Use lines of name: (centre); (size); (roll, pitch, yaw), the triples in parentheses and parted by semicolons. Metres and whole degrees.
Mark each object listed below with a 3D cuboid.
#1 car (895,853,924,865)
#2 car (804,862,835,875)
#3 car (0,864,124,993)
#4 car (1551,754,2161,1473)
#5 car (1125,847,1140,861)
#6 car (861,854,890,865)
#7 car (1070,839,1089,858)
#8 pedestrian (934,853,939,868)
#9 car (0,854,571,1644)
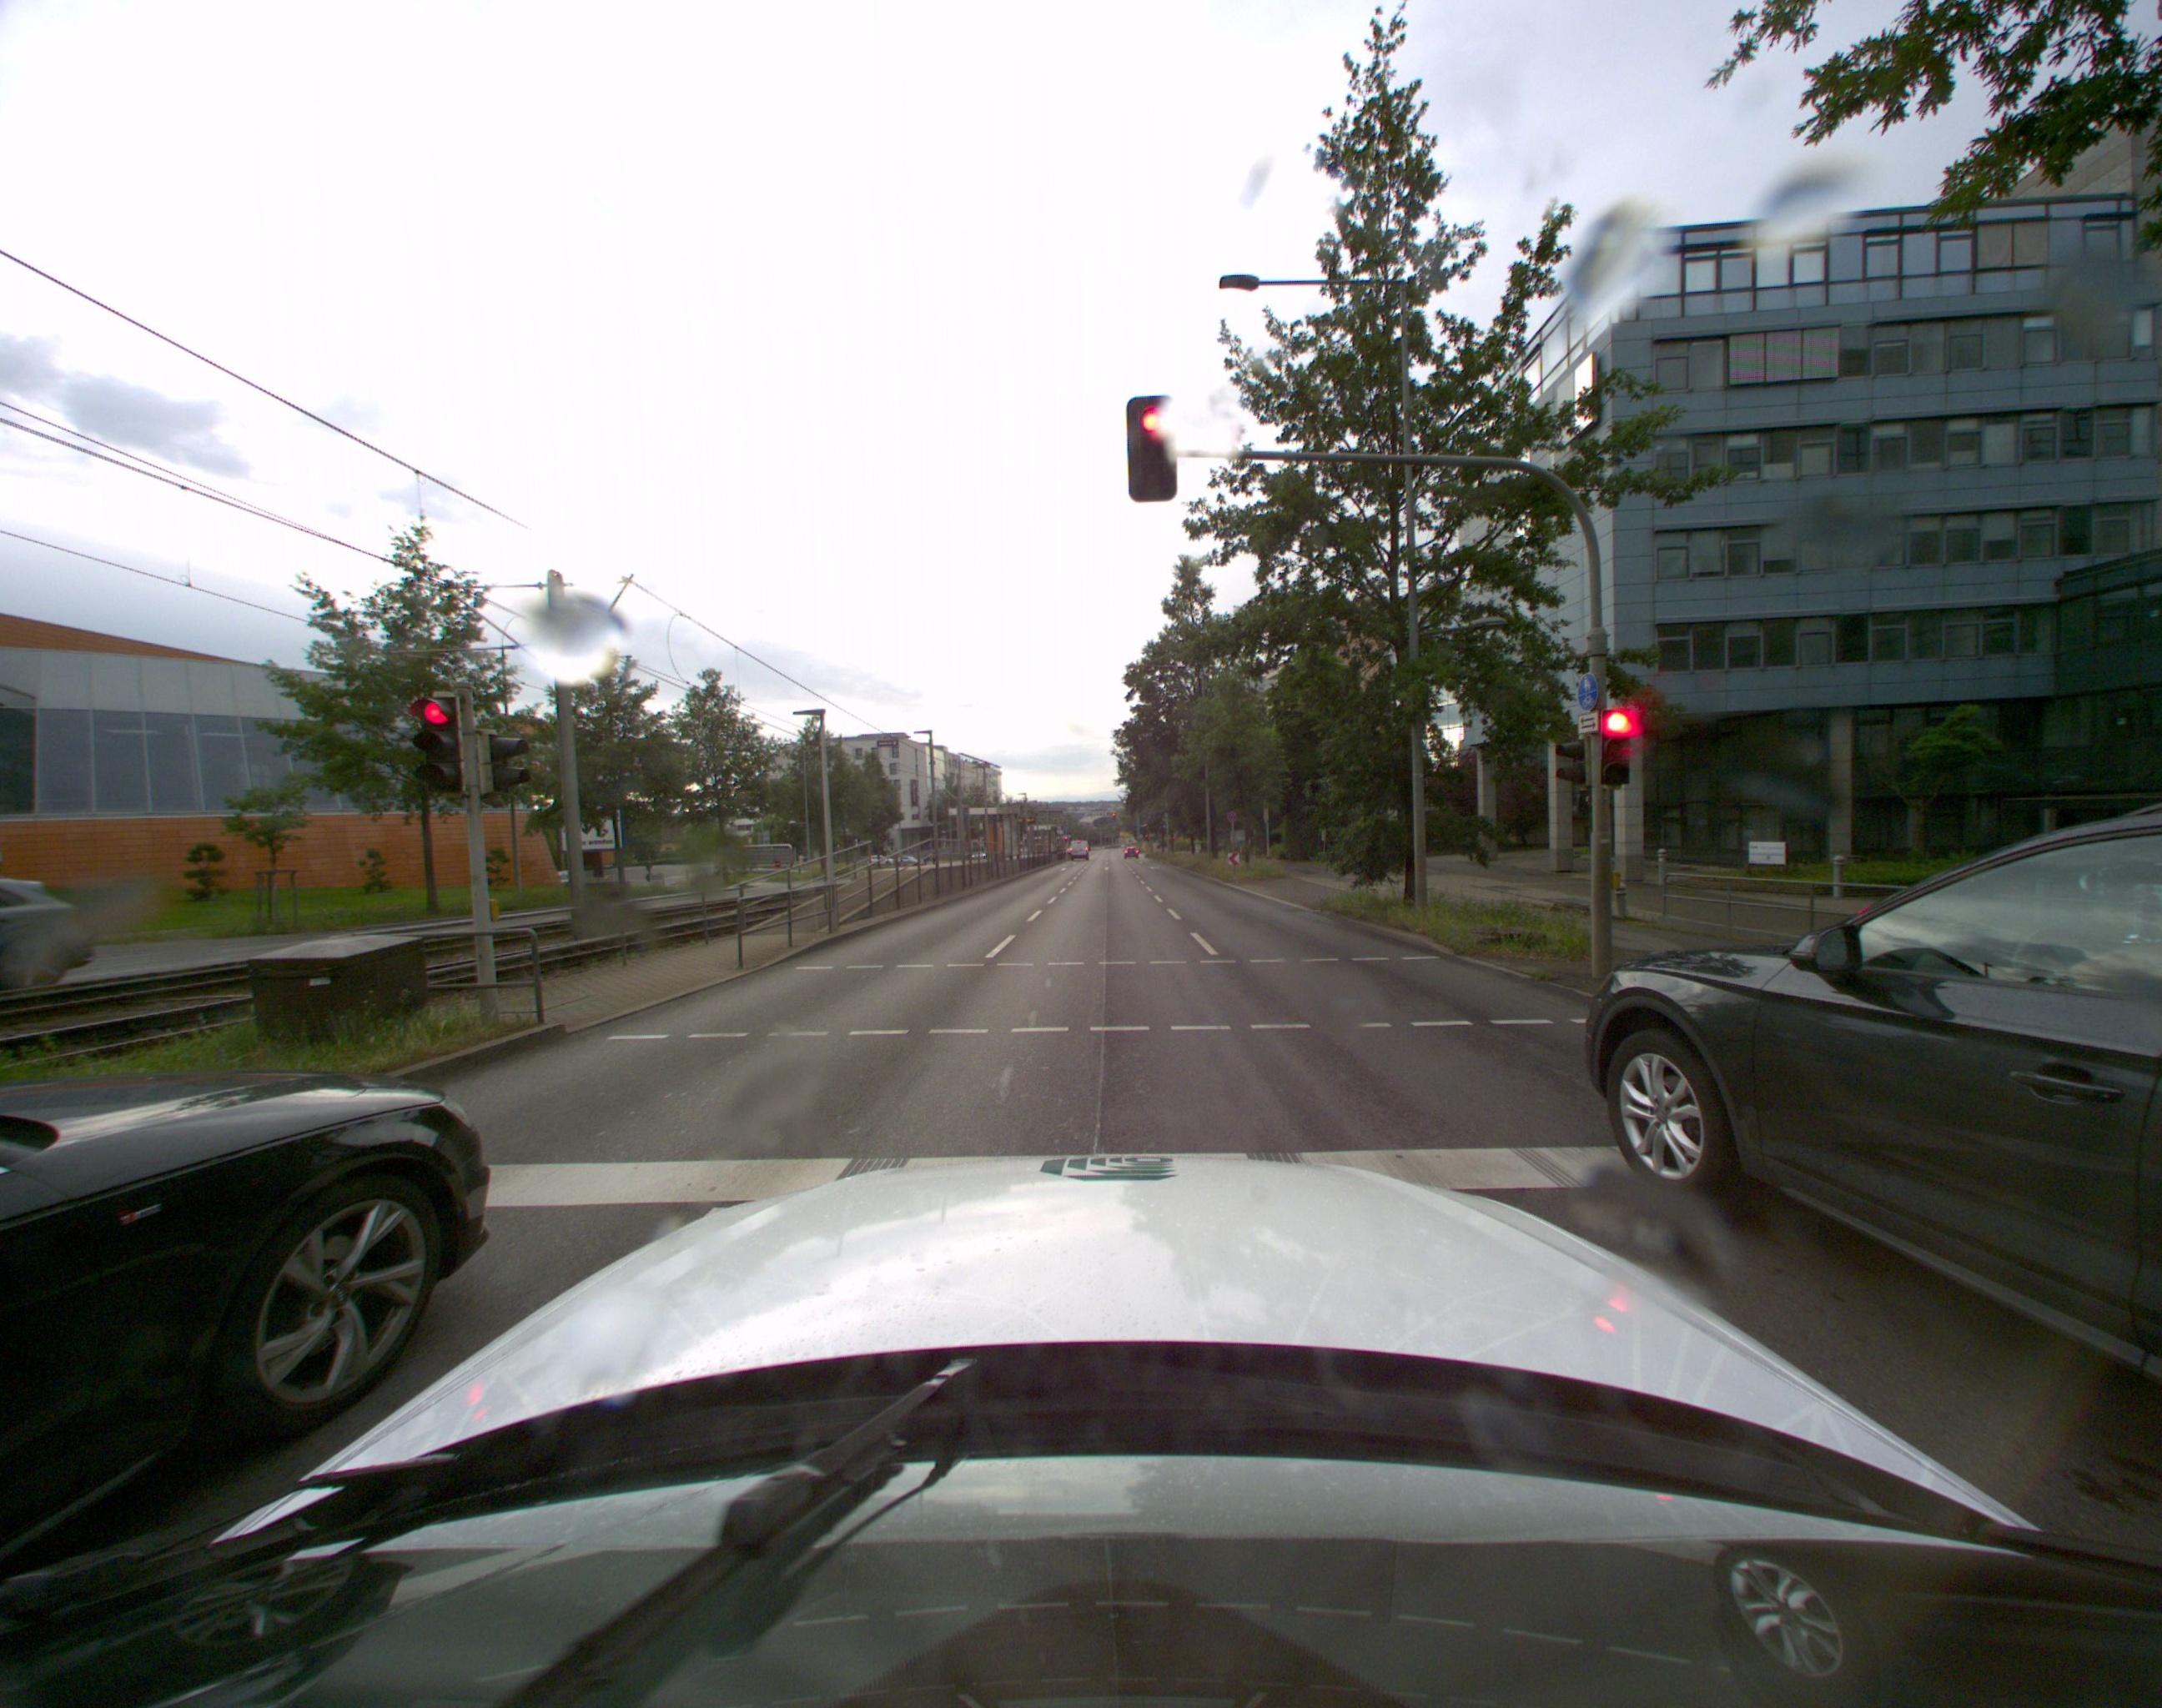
car: (-24.921, 0.768, 118.110); (3.830, 1.436, 1.666); (-4, 0, 28)
car: (-31.209, 1.743, 97.196); (3.341, 1.387, 1.440); (-1, 1, 18)
car: (-15.671, 1.091, 9.965); (1.986, 1.719, 4.843); (-3, 0, 2)
car: (3.321, 0.563, 2.024); (1.811, 1.612, 4.472); (-1, 0, 1)
car: (6.477, 0.018, 103.092); (1.767, 1.691, 3.847); (-1, 0, 2)
car: (-30.919, 0.830, 122.721); (4.094, 1.436, 1.648); (-4, 0, -13)
car: (-0.151, -0.651, 95.703); (2.086, 2.053, 4.607); (-1, 0, 1)
pedestrian: (-18.748, 0.877, 105.715); (0.473, 1.920, 0.490); (-1, 0, 1)
car: (-2.940, 0.767, 0.901); (1.774, 1.466, 4.515); (-1, 0, 2)
